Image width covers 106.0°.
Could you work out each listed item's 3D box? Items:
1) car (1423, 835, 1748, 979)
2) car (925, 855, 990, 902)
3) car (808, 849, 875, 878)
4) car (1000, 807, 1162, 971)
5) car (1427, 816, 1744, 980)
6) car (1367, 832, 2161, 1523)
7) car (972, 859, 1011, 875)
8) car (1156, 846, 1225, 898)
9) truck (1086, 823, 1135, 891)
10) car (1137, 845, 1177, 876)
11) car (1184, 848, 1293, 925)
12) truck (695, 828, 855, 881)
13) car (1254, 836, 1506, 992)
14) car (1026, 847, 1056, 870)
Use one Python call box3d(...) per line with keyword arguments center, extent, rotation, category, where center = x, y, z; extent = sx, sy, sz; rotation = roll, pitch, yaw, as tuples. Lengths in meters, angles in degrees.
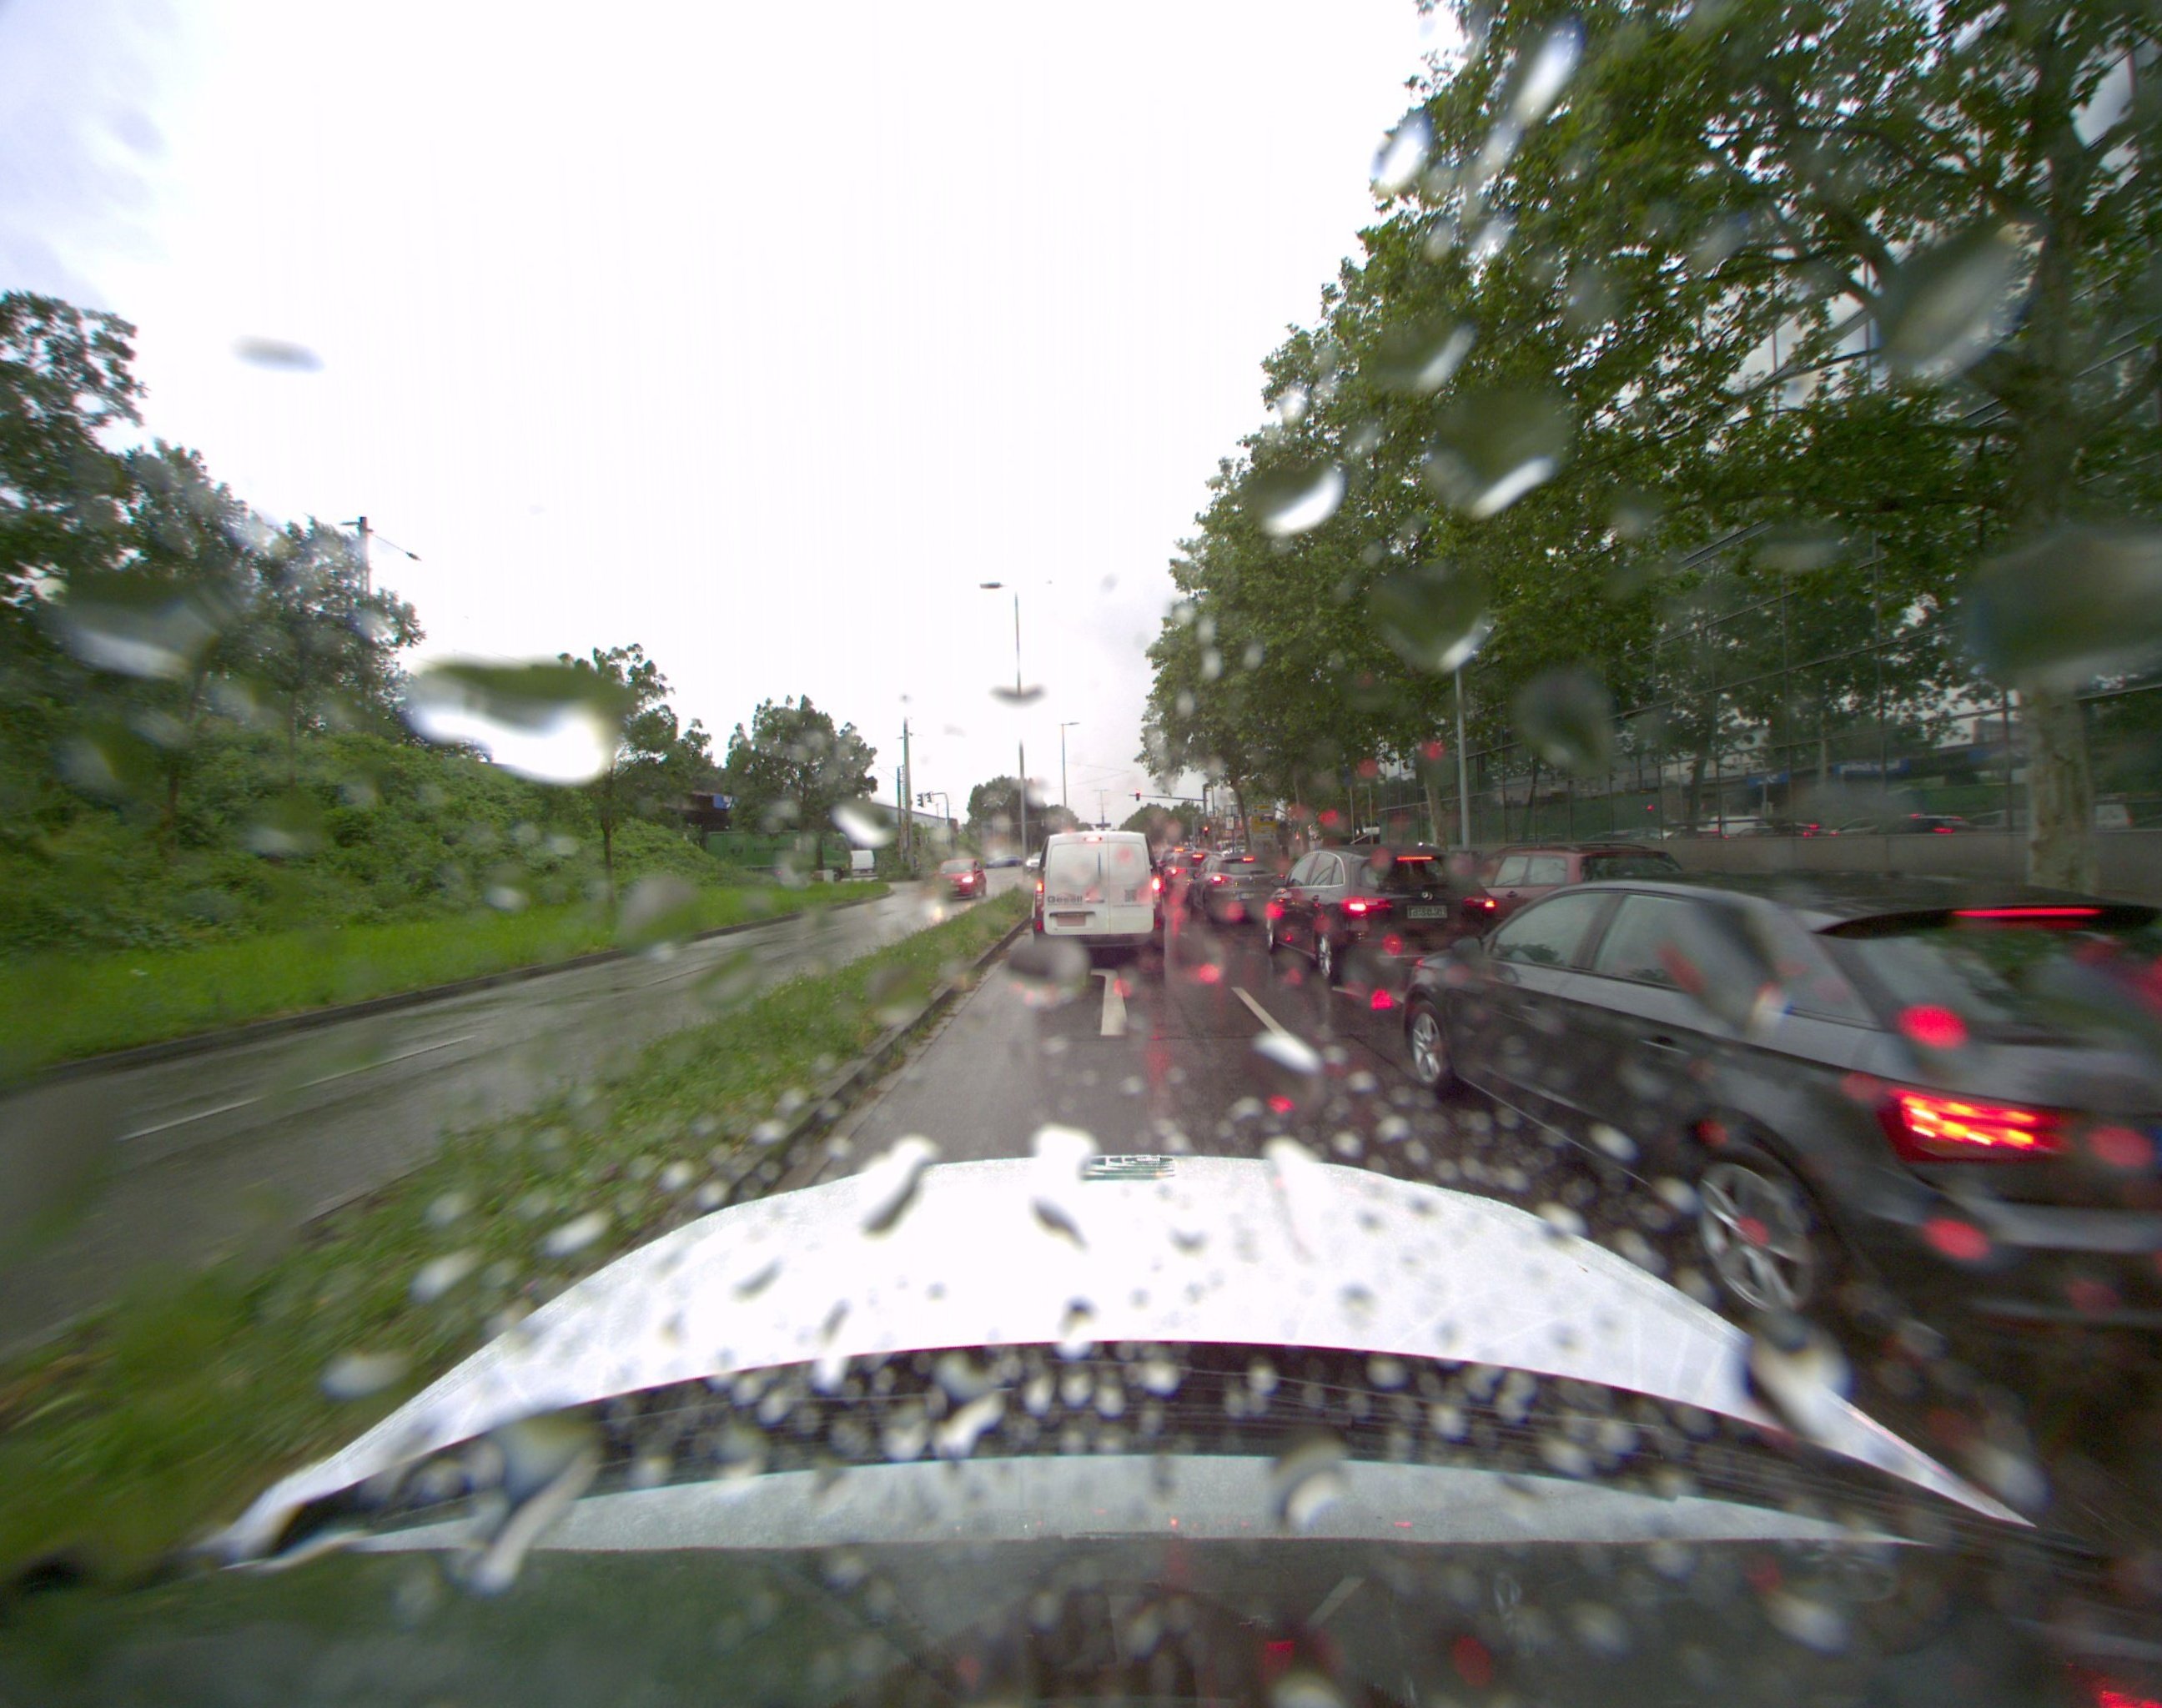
box3d(center=(6.355, 0.580, 10.917), extent=(1.833, 1.537, 4.111), rotation=(-1, 0, 0), category="car")
box3d(center=(-4.630, 0.882, 31.083), extent=(1.709, 1.513, 3.616), rotation=(-4, 0, 2), category="car")
box3d(center=(-23.819, 0.901, 81.121), extent=(6.045, 2.744, 1.978), rotation=(0, -2, -35), category="car")
box3d(center=(0.003, 0.456, 12.225), extent=(1.987, 2.014, 3.999), rotation=(-1, -1, 0), category="car")
box3d(center=(6.149, 0.446, 10.547), extent=(1.705, 1.672, 3.959), rotation=(-2, 0, 1), category="car")
box3d(center=(3.015, 0.671, 3.740), extent=(1.987, 1.452, 3.999), rotation=(-1, 0, 0), category="car")
box3d(center=(-10.084, 1.487, 91.421), extent=(3.954, 1.525, 1.761), rotation=(-4, 1, -24), category="car")
box3d(center=(3.339, 0.501, 25.553), extent=(1.705, 1.445, 4.002), rotation=(-2, 0, 1), category="car")
box3d(center=(1.097, 0.131, 31.987), extent=(1.751, 2.466, 3.999), rotation=(-1, 0, 0), category="truck")
box3d(center=(3.744, 0.299, 40.649), extent=(1.705, 1.445, 4.002), rotation=(-2, 0, 1), category="car")
box3d(center=(3.341, 0.617, 17.962), extent=(1.705, 1.445, 4.002), rotation=(-2, 0, 1), category="car")
box3d(center=(-21.329, 0.042, 57.194), extent=(10.185, 3.452, 2.629), rotation=(0, -2, -36), category="truck")
box3d(center=(3.485, 0.580, 10.323), extent=(1.703, 1.549, 4.000), rotation=(-2, 1, 0), category="car")
box3d(center=(-3.019, 0.319, 62.456), extent=(1.956, 1.525, 4.334), rotation=(-3, 1, 0), category="car")
